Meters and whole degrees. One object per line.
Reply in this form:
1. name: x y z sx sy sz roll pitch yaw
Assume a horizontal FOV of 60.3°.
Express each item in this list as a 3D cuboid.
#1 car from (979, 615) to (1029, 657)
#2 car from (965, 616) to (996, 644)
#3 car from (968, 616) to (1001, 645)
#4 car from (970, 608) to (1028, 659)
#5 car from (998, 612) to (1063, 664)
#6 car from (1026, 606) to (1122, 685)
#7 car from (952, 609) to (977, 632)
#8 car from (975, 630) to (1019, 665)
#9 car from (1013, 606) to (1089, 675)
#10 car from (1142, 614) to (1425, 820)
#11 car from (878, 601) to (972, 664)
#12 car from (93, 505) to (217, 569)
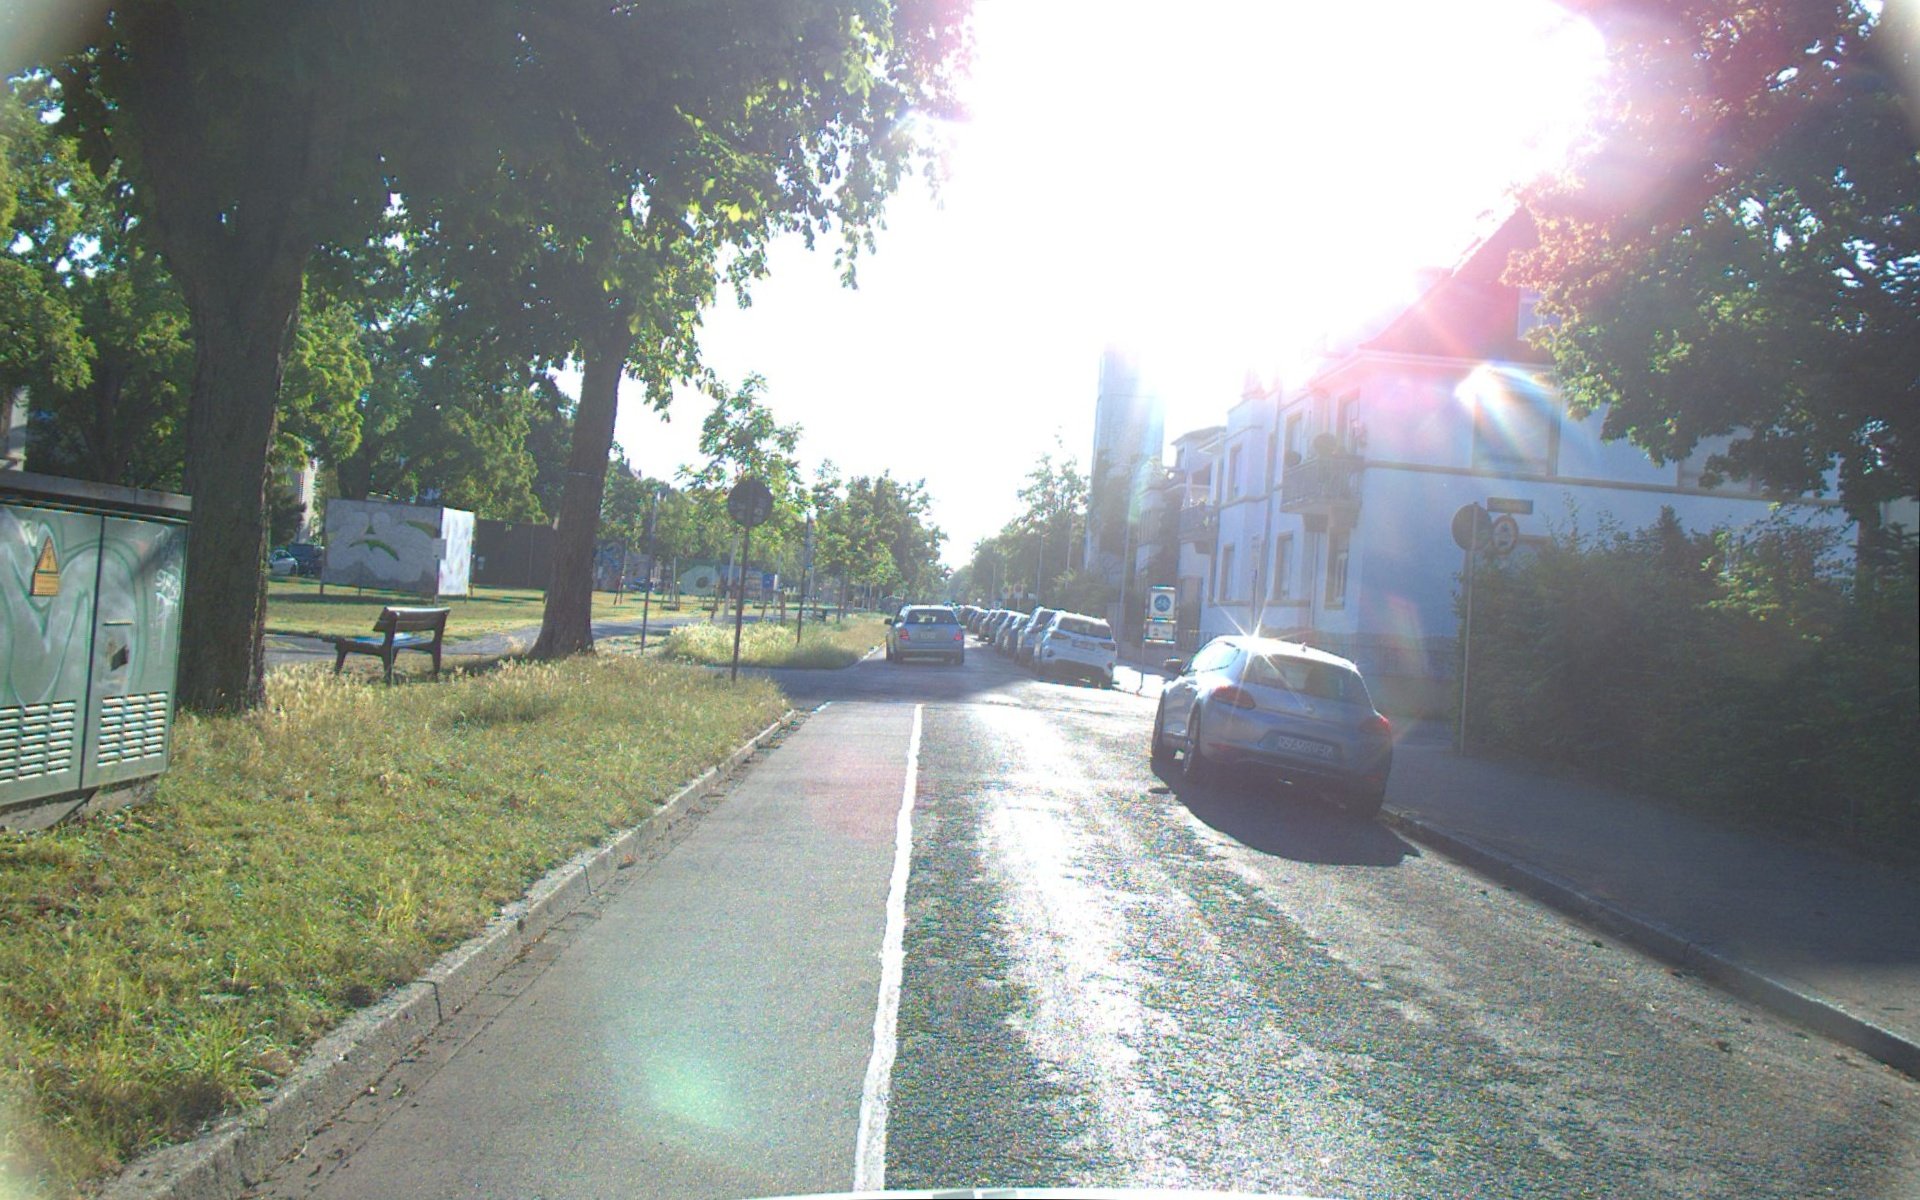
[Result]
1. car: 1.819 1.516 69.966 1.726 1.547 3.998 7 -1 -2
2. car: 1.400 2.058 113.170 1.953 1.657 3.999 5 -1 0
3. car: 1.538 1.980 106.724 1.953 1.657 3.999 5 -1 0
4. car: 1.378 1.183 59.593 1.724 1.632 4.357 5 -1 -2
5. car: 2.263 1.213 54.246 1.726 1.444 3.998 5 0 -2
6. car: 2.666 1.062 39.529 1.724 1.632 4.357 5 -1 -2
7. car: 0.413 1.765 141.433 1.940 1.712 3.999 5 -1 0
8. car: 1.765 2.286 80.587 1.953 1.489 3.999 5 -1 0
9. car: 2.457 1.066 45.520 1.651 1.679 4.099 5 0 -1
10. car: 3.000 1.037 16.214 1.724 1.442 4.071 11 -1 0
11. car: -0.930 0.793 41.463 1.729 1.445 3.990 2 -1 -10
12. car: -34.236 -2.633 70.573 2.483 2.275 5.458 5 0 0
